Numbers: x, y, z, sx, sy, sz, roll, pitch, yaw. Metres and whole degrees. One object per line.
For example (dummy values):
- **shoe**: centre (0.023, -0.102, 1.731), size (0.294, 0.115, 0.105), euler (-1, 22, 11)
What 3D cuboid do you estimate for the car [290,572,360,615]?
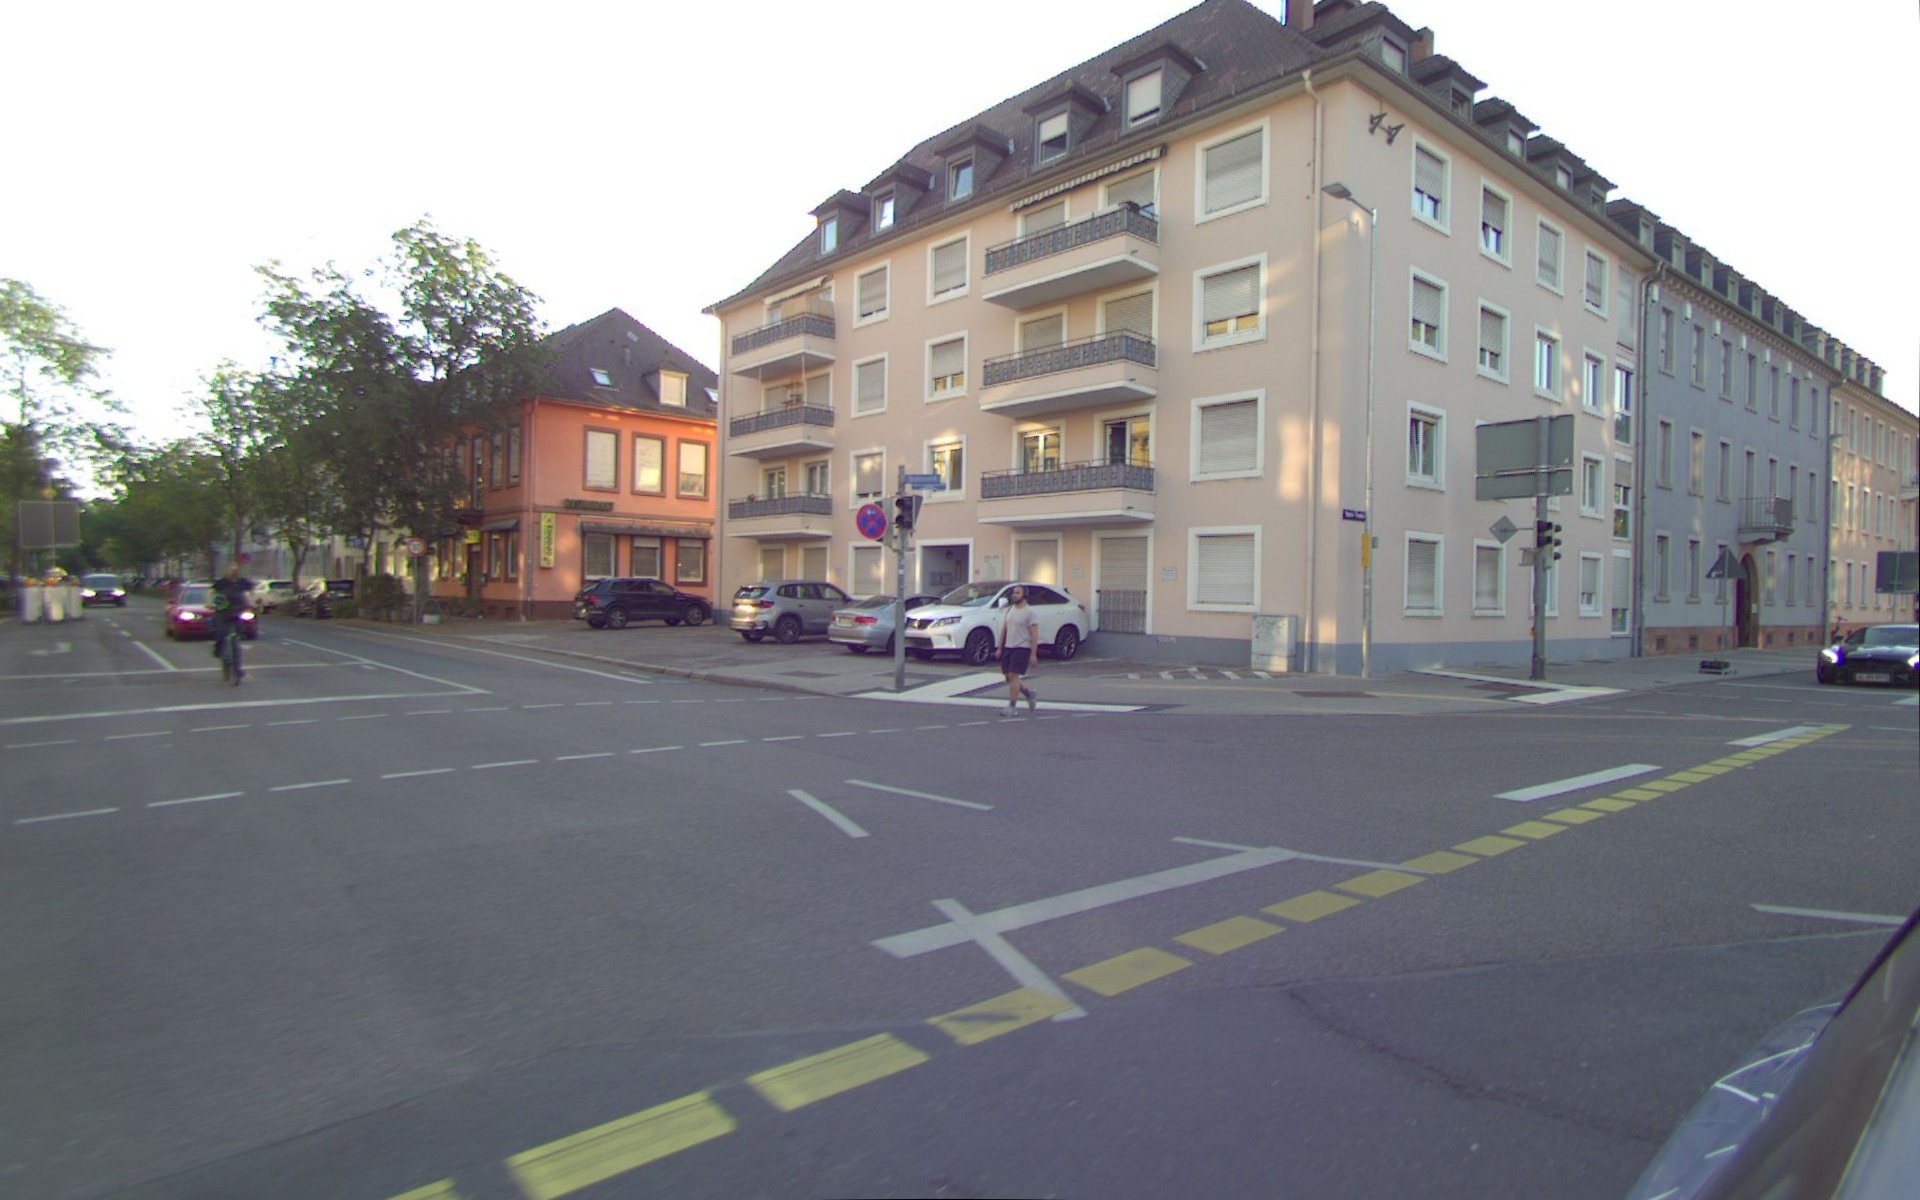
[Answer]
- **car**: centre (-28.464, -0.309, 45.312), size (1.966, 1.816, 3.901), euler (1, 1, -43)

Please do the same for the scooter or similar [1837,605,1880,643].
- **scooter or similar**: centre (36.933, 0.976, 41.587), size (1.638, 1.477, 0.729), euler (1, 2, -29)

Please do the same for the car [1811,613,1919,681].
- **car**: centre (20.199, 0.947, 21.510), size (4.274, 1.317, 2.185), euler (1, -1, -35)

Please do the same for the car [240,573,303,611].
- **car**: centre (-34.787, -0.417, 51.129), size (1.967, 1.816, 3.899), euler (1, 1, -44)

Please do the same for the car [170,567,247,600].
- **car**: centre (-48.985, -1.068, 66.025), size (3.925, 2.039, 1.999), euler (1, 0, -37)

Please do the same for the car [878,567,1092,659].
- **car**: centre (0.612, 0.243, 21.545), size (4.399, 1.772, 1.996), euler (1, 0, -43)

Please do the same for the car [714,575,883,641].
- **car**: centre (-4.213, 0.139, 26.687), size (3.988, 1.566, 2.008), euler (-2, 2, -43)

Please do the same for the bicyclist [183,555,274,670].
- **bicyclist**: centre (-11.018, 0.170, 15.241), size (0.953, 1.653, 1.043), euler (1, 0, -45)

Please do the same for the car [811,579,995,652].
- **car**: centre (-1.269, 0.329, 23.478), size (3.960, 1.532, 1.922), euler (1, 0, -43)

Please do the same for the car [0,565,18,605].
- **car**: centre (-43.867, -0.691, 44.377), size (3.657, 1.727, 1.882), euler (1, 0, -41)

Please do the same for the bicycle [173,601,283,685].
- **bicycle**: centre (-11.106, 0.598, 15.319), size (0.961, 1.119, 2.577), euler (1, 0, -45)

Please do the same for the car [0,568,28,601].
- **car**: centre (-51.703, -0.844, 53.073), size (4.093, 1.705, 1.996), euler (1, 1, -43)

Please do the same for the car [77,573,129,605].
- **car**: centre (-47.068, -0.633, 55.542), size (1.978, 1.641, 4.009), euler (-2, 2, -43)

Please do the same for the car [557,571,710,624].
- **car**: centre (-10.895, -0.146, 33.933), size (4.445, 1.616, 2.008), euler (-2, 2, -43)

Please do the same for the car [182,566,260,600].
- **car**: centre (-46.801, -1.077, 64.159), size (3.925, 2.039, 1.999), euler (1, 0, -37)

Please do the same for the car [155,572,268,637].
- **car**: centre (-19.826, 0.047, 26.739), size (1.978, 1.529, 4.010), euler (-2, 3, -43)

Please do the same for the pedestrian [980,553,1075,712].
- **pedestrian**: centre (0.896, 0.415, 13.538), size (0.973, 2.039, 0.789), euler (1, 0, -24)
